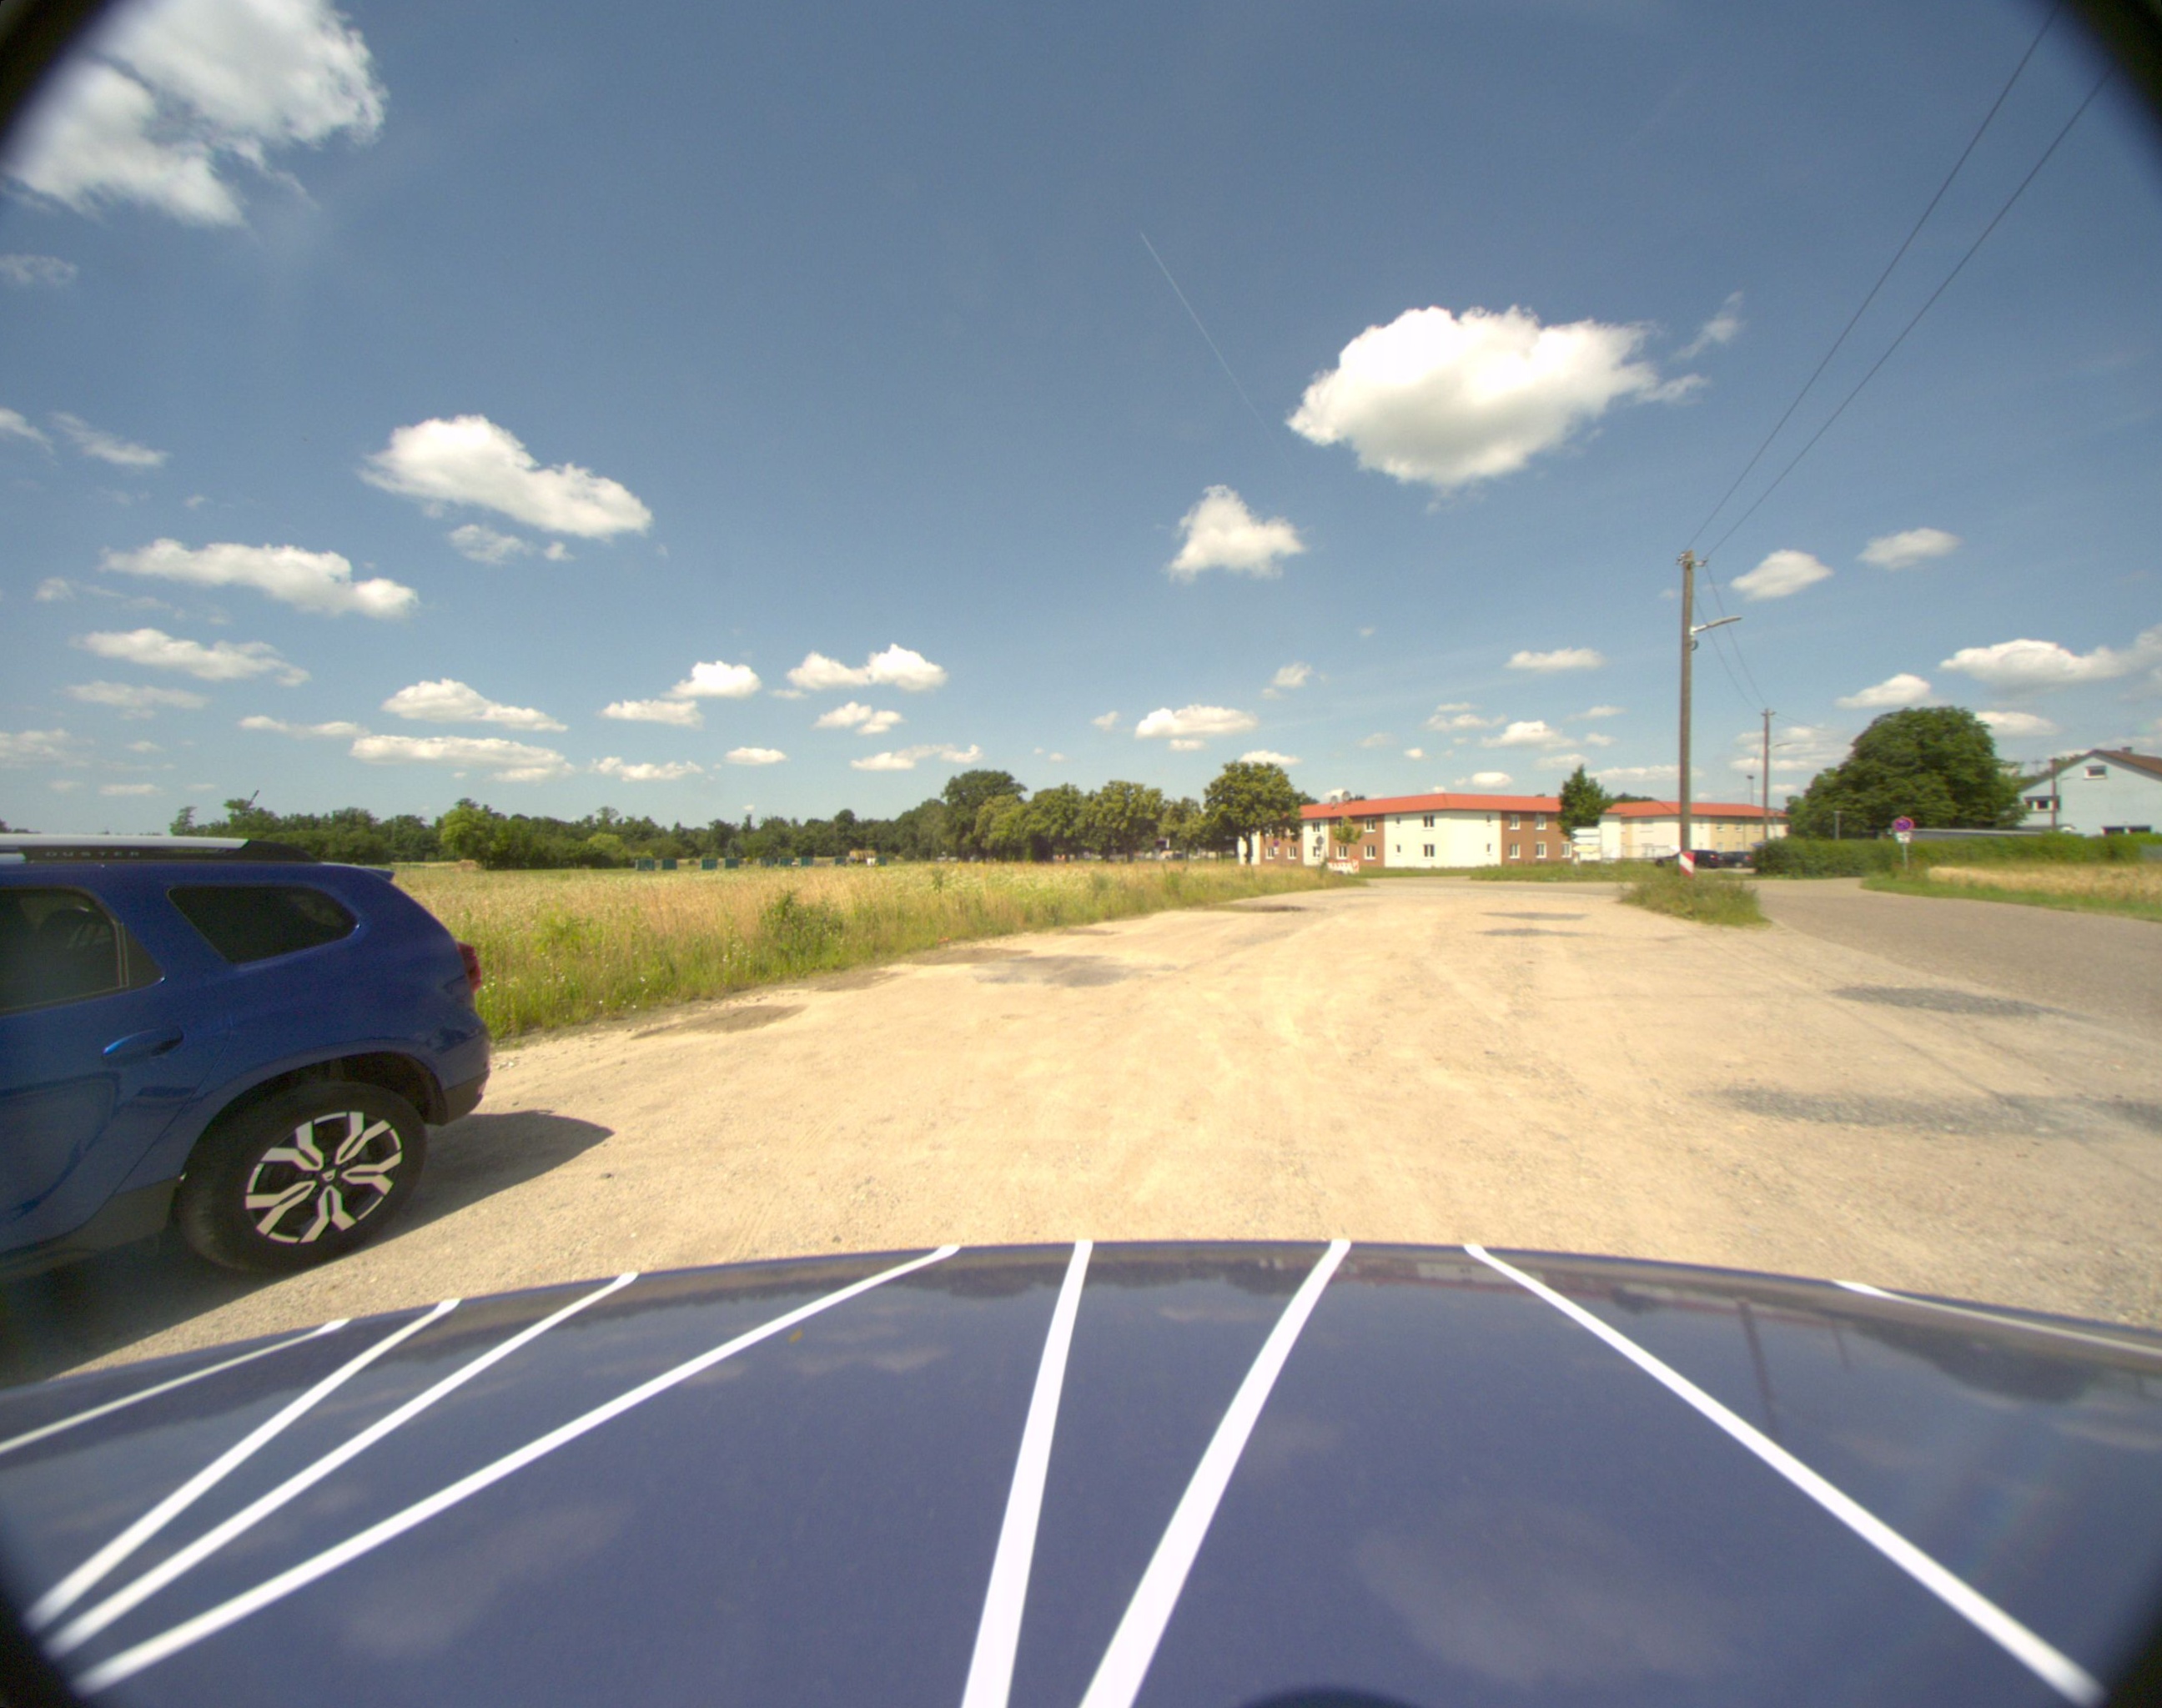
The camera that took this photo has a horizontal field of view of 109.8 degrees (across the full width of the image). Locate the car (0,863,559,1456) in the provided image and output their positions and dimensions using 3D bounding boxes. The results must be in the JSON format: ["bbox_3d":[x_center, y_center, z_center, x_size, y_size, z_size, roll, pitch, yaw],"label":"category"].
[{"bbox_3d":[-4.207,0.942,1.916,1.860,1.651,4.464,-1,1,19],"label":"car"}]

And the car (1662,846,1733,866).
[{"bbox_3d":[51.619,0.166,63.708,2.003,1.605,4.139,0,0,-26],"label":"car"}]

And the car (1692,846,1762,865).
[{"bbox_3d":[55.311,0.098,65.113,2.003,1.605,4.139,0,0,-26],"label":"car"}]
